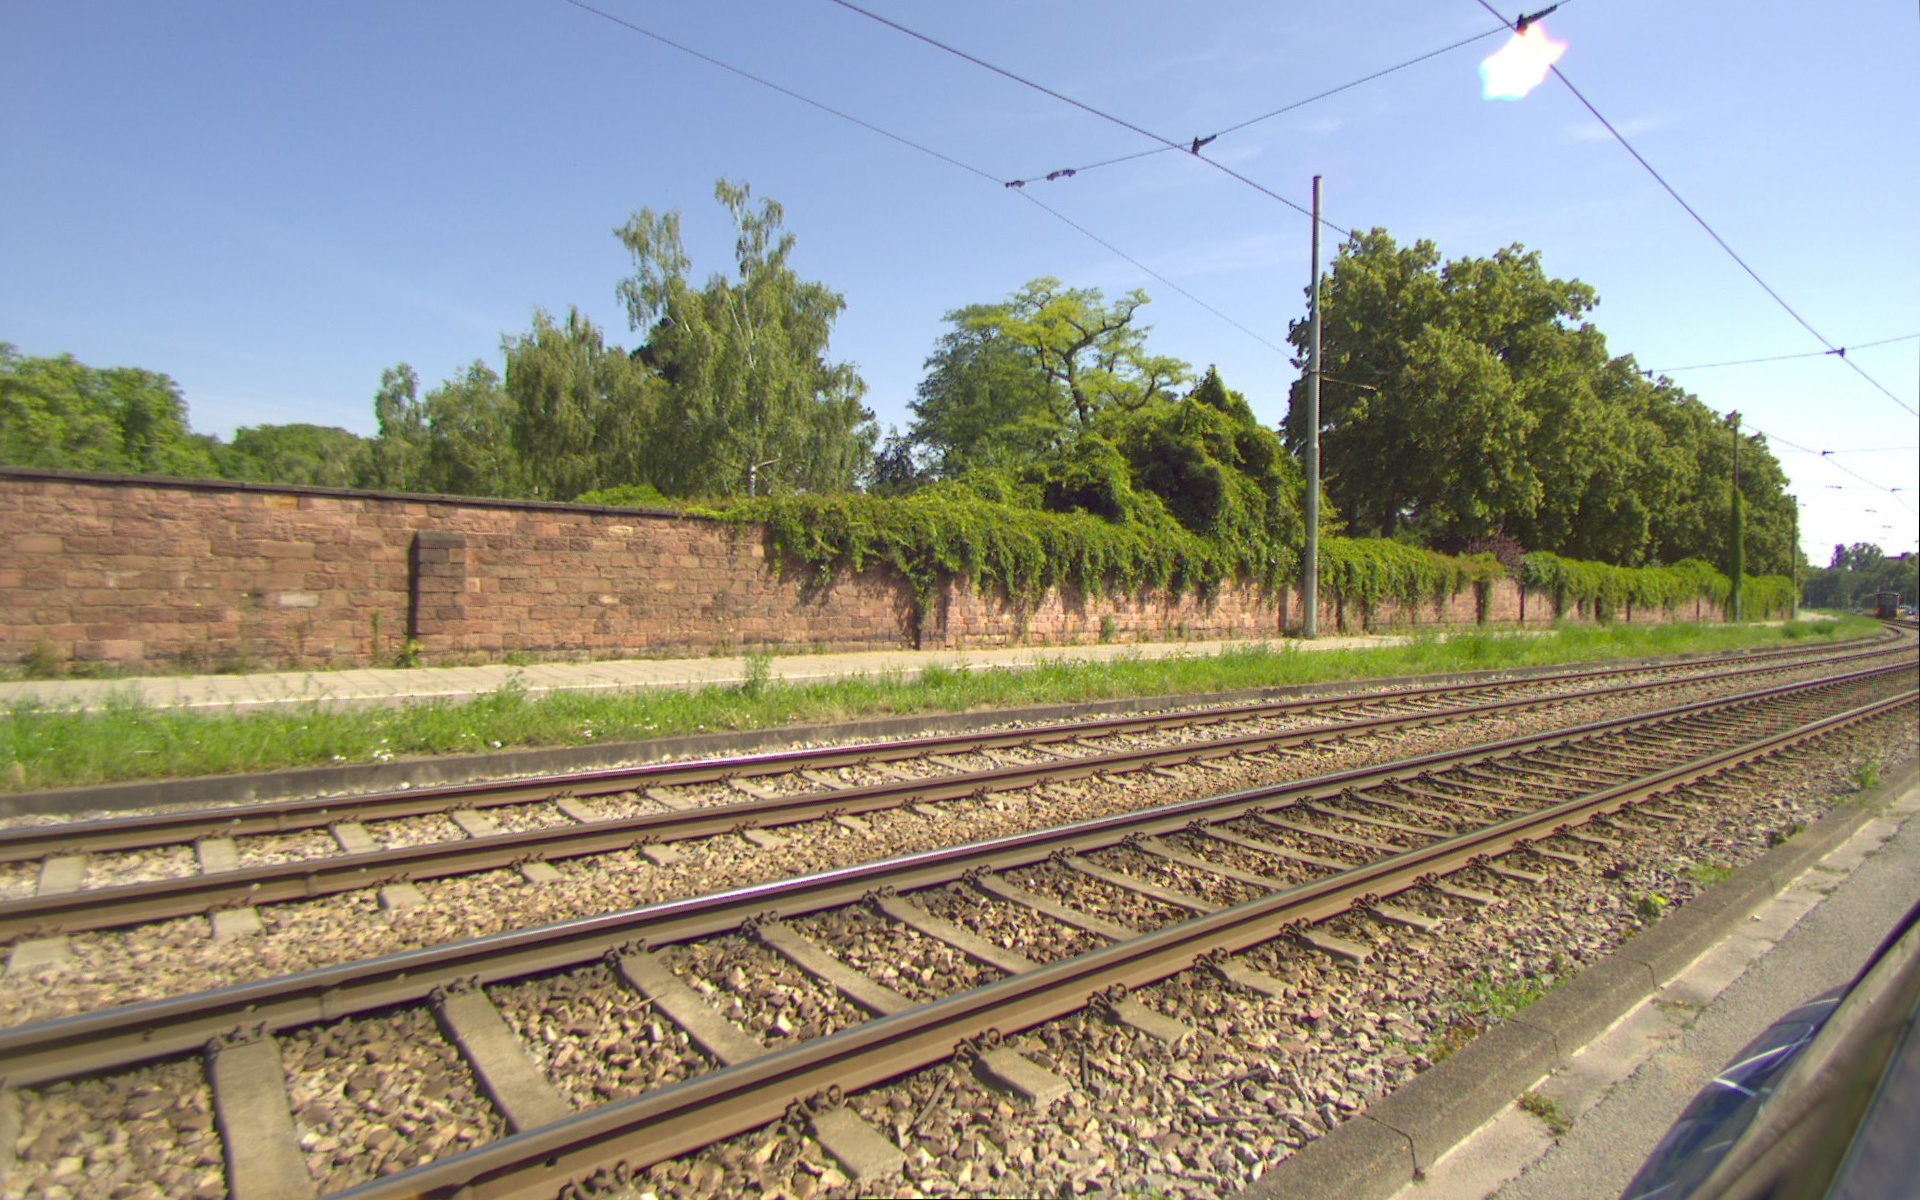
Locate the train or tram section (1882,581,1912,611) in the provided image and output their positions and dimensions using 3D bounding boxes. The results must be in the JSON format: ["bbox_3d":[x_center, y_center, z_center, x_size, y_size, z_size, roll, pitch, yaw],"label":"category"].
[{"bbox_3d":[127.747,-0.536,137.871,2.713,3.785,18.580,0,0,44],"label":"train or tram section"}]
